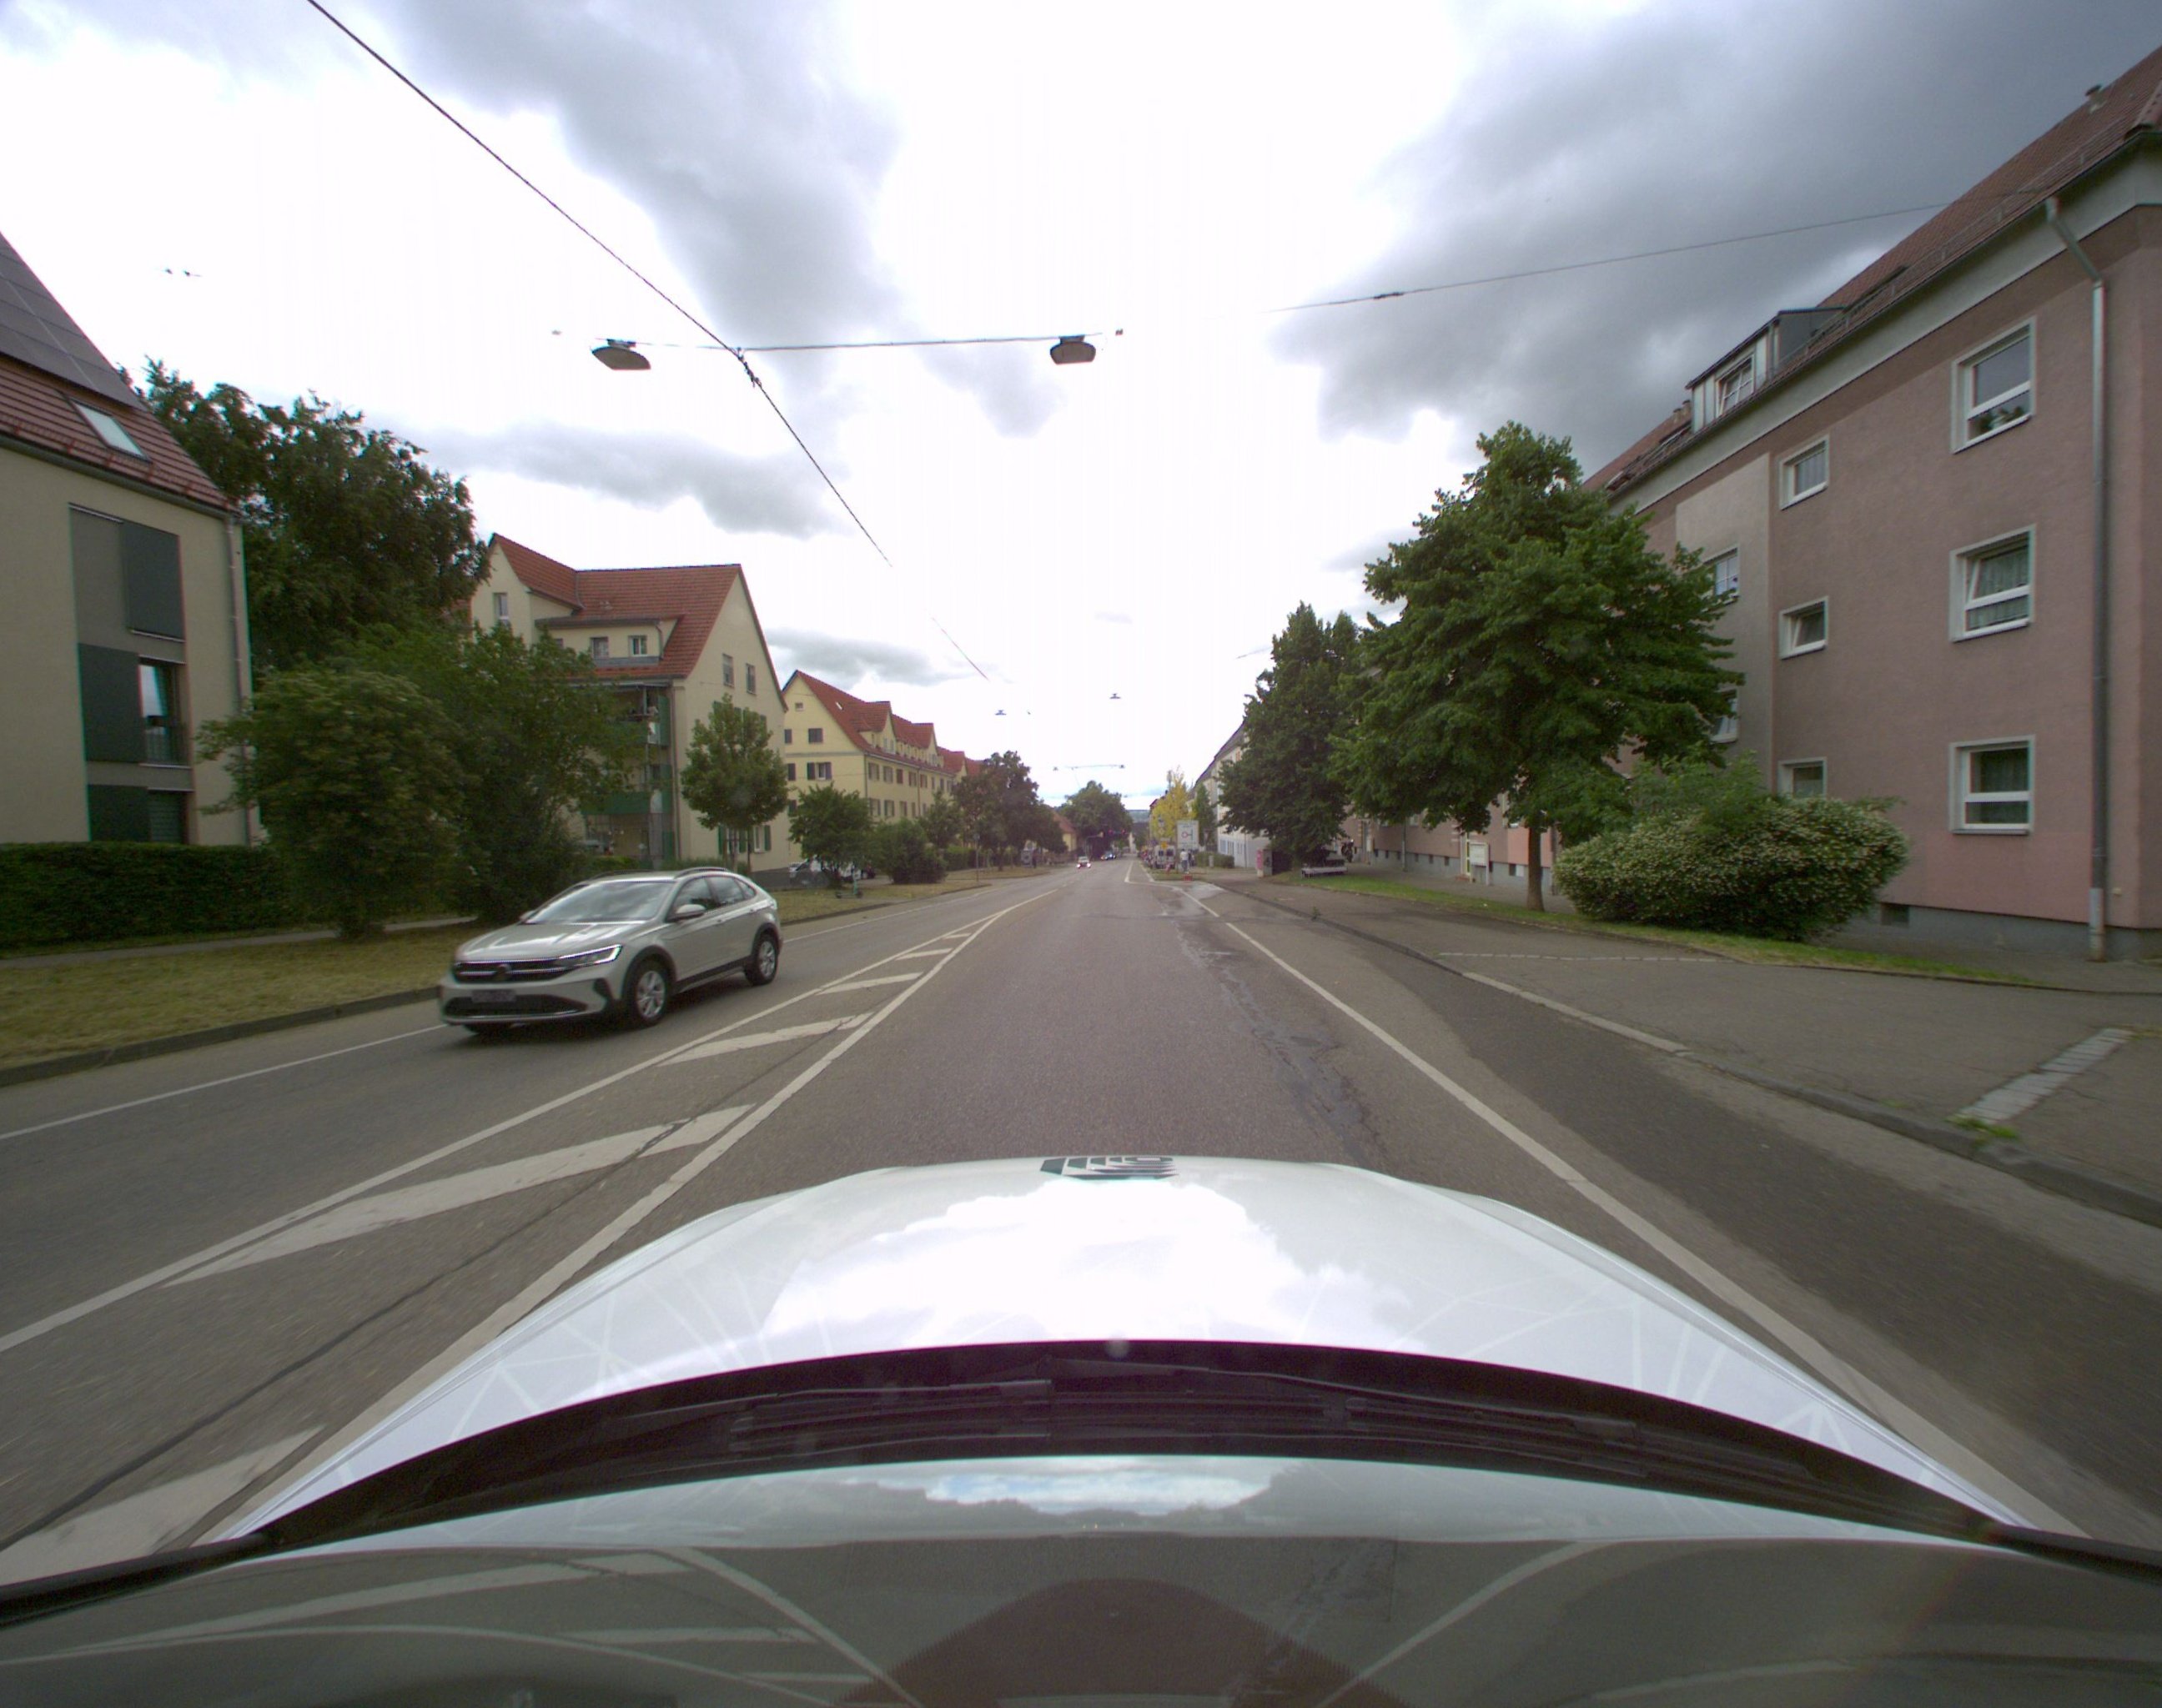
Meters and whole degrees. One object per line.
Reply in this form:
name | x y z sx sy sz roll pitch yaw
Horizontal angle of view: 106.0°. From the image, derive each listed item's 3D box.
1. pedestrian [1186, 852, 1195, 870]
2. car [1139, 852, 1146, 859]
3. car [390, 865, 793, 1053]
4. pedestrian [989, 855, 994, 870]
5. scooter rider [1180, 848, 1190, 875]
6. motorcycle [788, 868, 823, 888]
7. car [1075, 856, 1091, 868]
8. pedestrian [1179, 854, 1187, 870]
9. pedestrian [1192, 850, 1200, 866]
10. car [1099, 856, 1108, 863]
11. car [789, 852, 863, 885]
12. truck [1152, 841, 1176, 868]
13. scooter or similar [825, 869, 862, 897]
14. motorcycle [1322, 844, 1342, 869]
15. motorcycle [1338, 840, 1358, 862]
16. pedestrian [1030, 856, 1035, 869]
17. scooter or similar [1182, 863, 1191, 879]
pedestrian | 11.474 0.758 85.587 0.670 1.887 0.764 -1 -2 -9
car | 18.871 0.429 249.233 1.986 1.935 4.920 -1 0 1
car | -4.907 0.928 8.974 1.794 1.464 4.032 -3 0 3
pedestrian | -11.325 1.077 102.918 0.511 1.779 0.754 -1 0 3
scooter rider | 7.699 0.551 60.122 0.623 2.013 0.758 -1 0 2
motorcycle | -18.929 1.626 55.924 2.572 1.278 1.023 -1 0 36
car | 0.340 1.167 114.793 1.891 1.620 4.367 -1 0 4
pedestrian | 10.820 0.883 86.436 0.576 1.644 0.559 -1 -2 -11
pedestrian | 12.094 0.433 85.718 0.656 1.605 0.574 -5 0 -6
car | 5.346 1.298 191.070 1.747 1.472 4.315 -2 0 7
car | -18.619 1.037 59.550 4.697 2.253 1.997 -1 -1 3
truck | 8.278 0.004 81.705 2.044 2.565 5.693 -1 0 3
scooter or similar | -9.896 1.218 34.005 1.366 1.086 0.466 -2 0 -1
motorcycle | 16.309 0.141 52.982 0.728 1.569 2.553 -1 0 4
motorcycle | 15.262 -0.148 46.581 0.588 1.227 1.969 -1 0 3
pedestrian | -6.749 1.162 113.745 0.594 1.727 0.862 0 0 6
scooter or similar | 7.734 1.241 60.015 0.488 1.163 2.076 -1 0 3
